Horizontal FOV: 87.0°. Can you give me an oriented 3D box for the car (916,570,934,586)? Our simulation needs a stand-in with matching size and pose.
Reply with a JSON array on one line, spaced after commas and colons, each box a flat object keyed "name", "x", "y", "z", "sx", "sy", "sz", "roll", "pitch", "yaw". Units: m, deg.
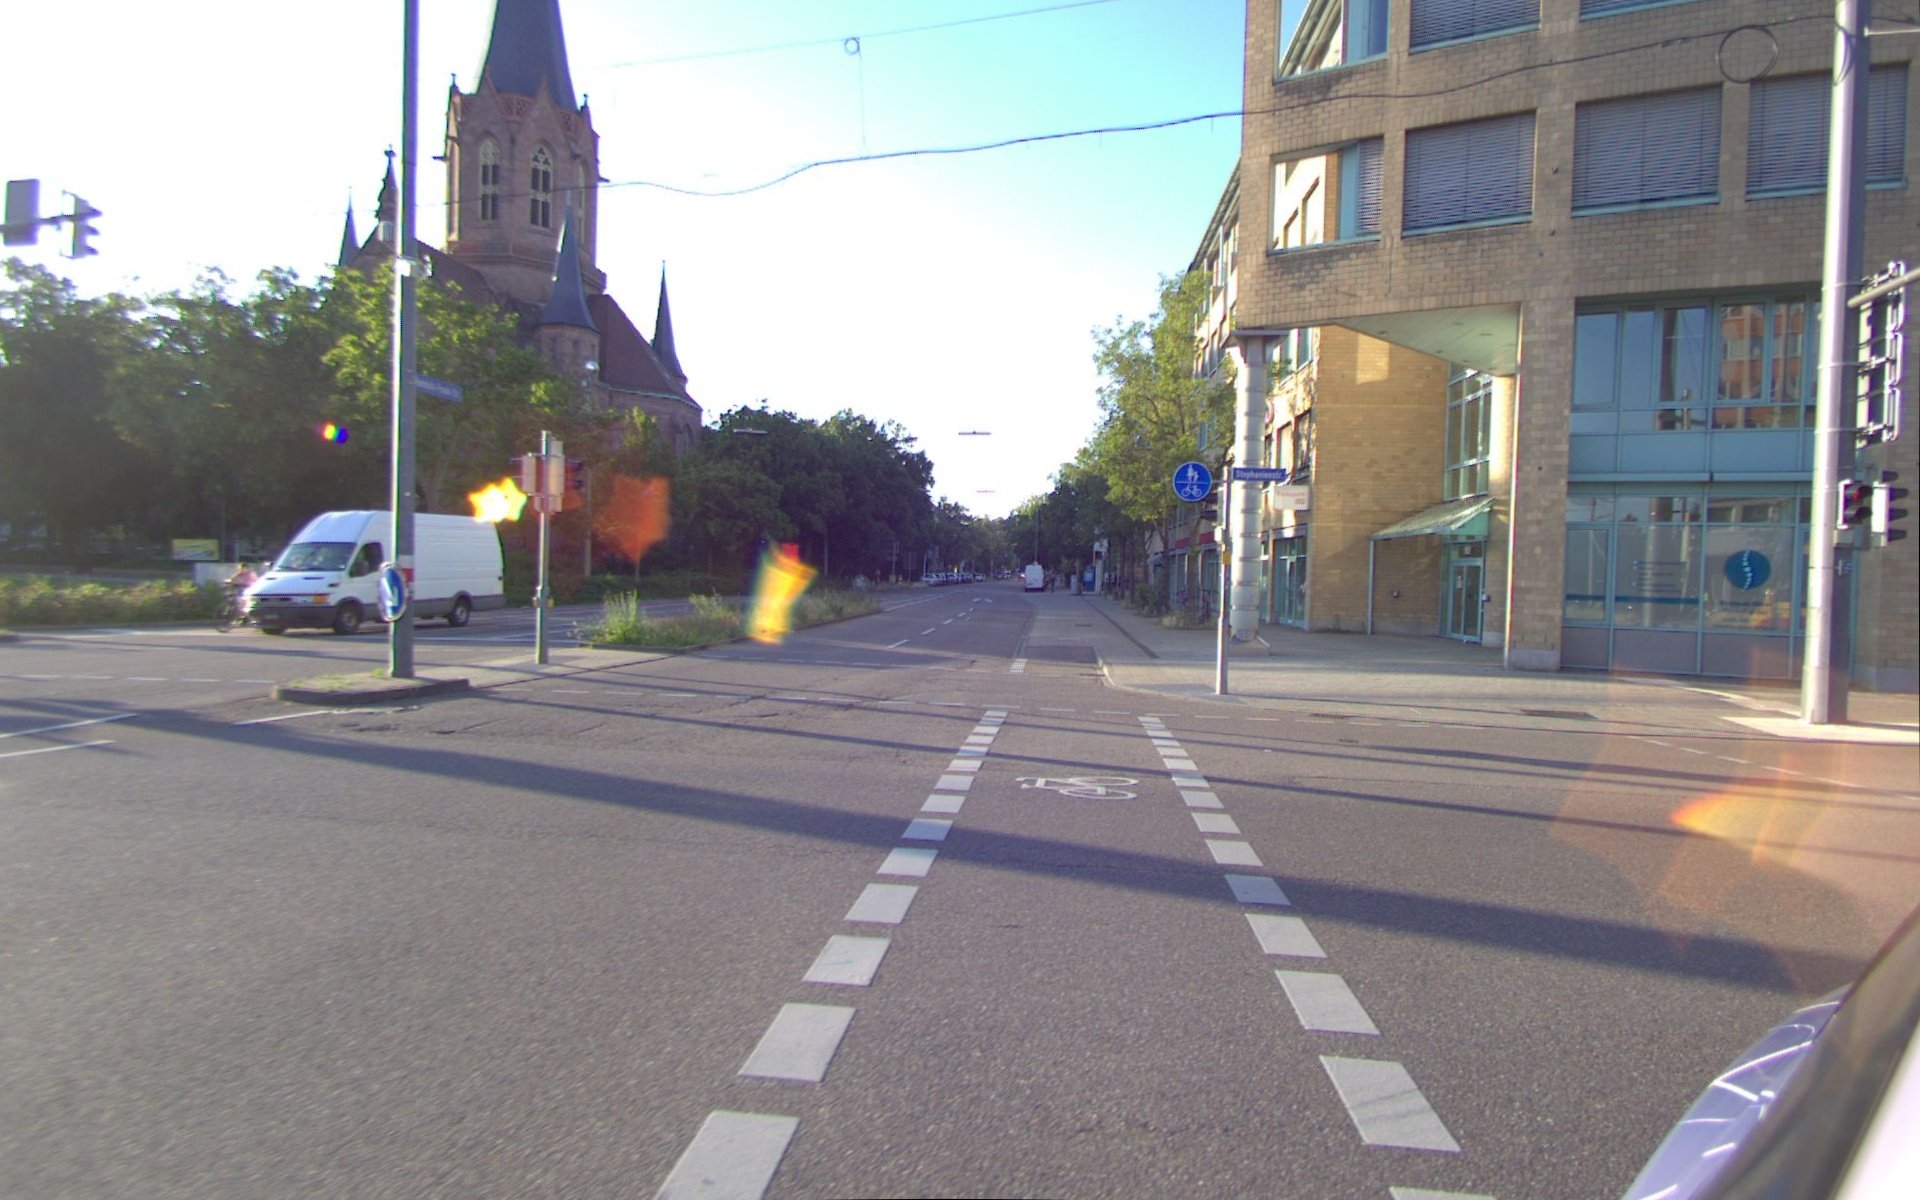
[{"name": "car", "x": -3.888, "y": -2.485, "z": 113.572, "sx": 1.871, "sy": 1.638, "sz": 4.000, "roll": 2, "pitch": 1, "yaw": 0}]

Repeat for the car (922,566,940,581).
[{"name": "car", "x": -3.378, "y": -3.131, "z": 118.445, "sx": 1.961, "sy": 1.678, "sz": 4.003, "roll": 2, "pitch": 2, "yaw": -2}]

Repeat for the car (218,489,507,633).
[{"name": "car", "x": -13.689, "y": -0.863, "z": 23.990, "sx": 2.057, "sy": 2.863, "sz": 7.022, "roll": 2, "pitch": 1, "yaw": 7}]

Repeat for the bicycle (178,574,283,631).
[{"name": "bicycle", "x": -16.300, "y": 0.028, "z": 22.680, "sx": 0.723, "sy": 1.191, "sz": 1.968, "roll": 2, "pitch": 1, "yaw": 10}]

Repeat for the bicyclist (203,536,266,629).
[{"name": "bicyclist", "x": -16.273, "y": -0.399, "z": 22.721, "sx": 0.710, "sy": 2.038, "sz": 0.899, "roll": 2, "pitch": 1, "yaw": 10}]

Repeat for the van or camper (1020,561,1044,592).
[{"name": "van or camper", "x": 7.195, "y": -2.340, "z": 100.338, "sx": 2.118, "sy": 2.878, "sz": 4.397, "roll": 2, "pitch": 1, "yaw": 7}]
